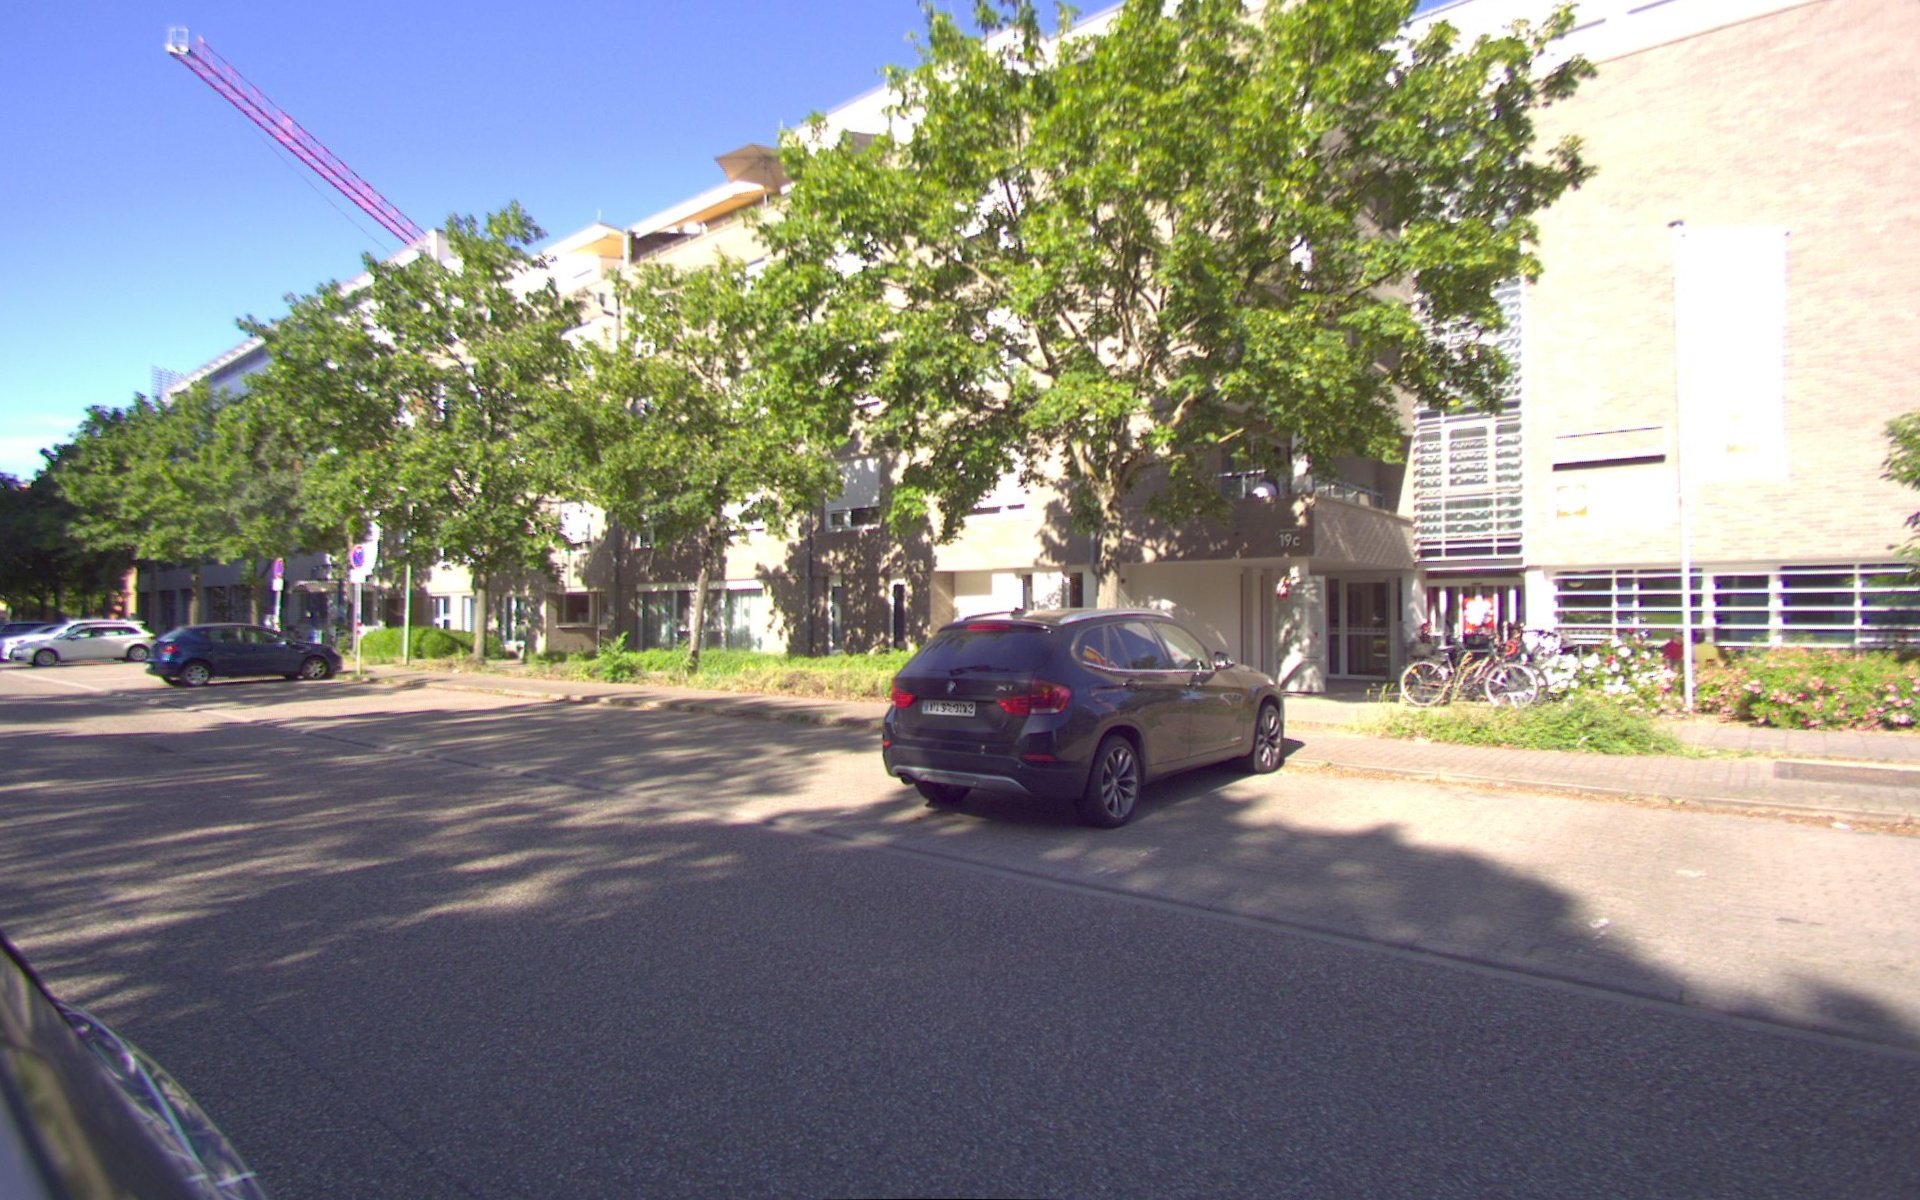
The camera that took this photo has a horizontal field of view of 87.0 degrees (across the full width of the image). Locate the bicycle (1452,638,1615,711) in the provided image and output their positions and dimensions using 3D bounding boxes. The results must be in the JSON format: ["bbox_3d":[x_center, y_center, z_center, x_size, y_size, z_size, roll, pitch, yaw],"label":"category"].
[{"bbox_3d":[9.049,1.151,16.046,2.191,1.055,0.432,-1,-1,41],"label":"bicycle"}]

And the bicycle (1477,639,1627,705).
[{"bbox_3d":[10.270,1.224,17.626,2.191,1.055,0.432,-1,-1,41],"label":"bicycle"}]

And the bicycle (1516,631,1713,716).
[{"bbox_3d":[8.845,0.962,13.758,2.191,1.055,0.432,-1,-1,41],"label":"bicycle"}]

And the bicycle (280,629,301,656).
[{"bbox_3d":[-30.059,1.920,45.430,1.626,1.184,0.334,-1,-1,41],"label":"bicycle"}]

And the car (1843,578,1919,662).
[{"bbox_3d":[30.653,0.861,30.685,5.457,2.400,1.898,9,4,37],"label":"car"}]

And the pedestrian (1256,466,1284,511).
[{"bbox_3d":[6.167,-2.210,20.126,0.362,0.804,0.676,-1,-1,33],"label":"pedestrian"}]

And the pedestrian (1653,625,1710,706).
[{"bbox_3d":[12.619,1.129,17.702,0.745,1.371,0.661,-1,-3,41],"label":"pedestrian"}]

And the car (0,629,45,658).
[{"bbox_3d":[-49.199,2.265,51.403,1.685,1.424,3.785,-3,-1,38],"label":"car"}]

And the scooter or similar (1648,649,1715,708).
[{"bbox_3d":[12.618,1.353,17.703,0.868,0.961,0.795,-1,-2,41],"label":"scooter or similar"}]

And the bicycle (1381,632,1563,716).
[{"bbox_3d":[6.987,0.983,13.909,2.191,1.055,0.432,-1,-1,41],"label":"bicycle"}]

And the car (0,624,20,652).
[{"bbox_3d":[-52.142,2.027,53.442,1.656,1.447,3.495,-1,-1,38],"label":"car"}]

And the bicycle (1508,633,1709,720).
[{"bbox_3d":[8.509,0.972,13.368,2.191,1.055,0.432,-1,-1,41],"label":"bicycle"}]

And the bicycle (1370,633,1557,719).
[{"bbox_3d":[6.687,0.980,13.537,2.191,1.055,0.432,-1,-1,41],"label":"bicycle"}]

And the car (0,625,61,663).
[{"bbox_3d":[-43.964,2.038,46.744,1.654,1.681,3.534,-2,-1,42],"label":"car"}]

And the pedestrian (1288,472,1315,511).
[{"bbox_3d":[6.791,-2.152,20.114,0.426,0.691,0.412,-1,-1,31],"label":"pedestrian"}]

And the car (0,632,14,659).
[{"bbox_3d":[-53.819,2.522,54.856,1.655,1.456,3.497,-1,-1,36],"label":"car"}]

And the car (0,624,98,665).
[{"bbox_3d":[-40.357,1.917,44.064,1.802,1.632,4.069,-2,-1,41],"label":"car"}]

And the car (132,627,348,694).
[{"bbox_3d":[-17.472,1.412,24.727,1.814,1.422,3.951,-1,-1,36],"label":"car"}]

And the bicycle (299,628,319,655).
[{"bbox_3d":[-29.827,1.887,46.376,1.626,1.184,0.334,-1,-1,41],"label":"bicycle"}]

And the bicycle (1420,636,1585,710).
[{"bbox_3d":[8.322,1.089,15.599,2.191,1.055,0.432,-1,-1,41],"label":"bicycle"}]

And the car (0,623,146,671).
[{"bbox_3d":[-34.165,1.756,38.935,1.951,1.614,4.182,0,0,40],"label":"car"}]

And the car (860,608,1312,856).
[{"bbox_3d":[1.275,0.848,8.478,1.771,1.531,4.149,-1,-1,40],"label":"car"}]

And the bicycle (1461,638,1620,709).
[{"bbox_3d":[9.389,1.163,16.453,2.191,1.055,0.432,-1,-1,41],"label":"bicycle"}]

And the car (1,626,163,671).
[{"bbox_3d":[-31.906,1.720,36.861,1.798,1.491,4.216,-2,-2,39],"label":"car"}]

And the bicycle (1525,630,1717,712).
[{"bbox_3d":[9.170,0.954,14.123,2.191,1.055,0.432,-1,-1,41],"label":"bicycle"}]

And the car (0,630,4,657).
[{"bbox_3d":[-57.225,2.535,57.925,1.644,1.517,3.495,-1,-1,38],"label":"car"}]

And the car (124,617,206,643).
[{"bbox_3d":[-68.415,2.587,87.150,1.930,2.114,5.264,-1,-1,38],"label":"car"}]

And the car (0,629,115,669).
[{"bbox_3d":[-38.139,2.012,41.949,1.937,1.462,4.469,-2,0,36],"label":"car"}]
